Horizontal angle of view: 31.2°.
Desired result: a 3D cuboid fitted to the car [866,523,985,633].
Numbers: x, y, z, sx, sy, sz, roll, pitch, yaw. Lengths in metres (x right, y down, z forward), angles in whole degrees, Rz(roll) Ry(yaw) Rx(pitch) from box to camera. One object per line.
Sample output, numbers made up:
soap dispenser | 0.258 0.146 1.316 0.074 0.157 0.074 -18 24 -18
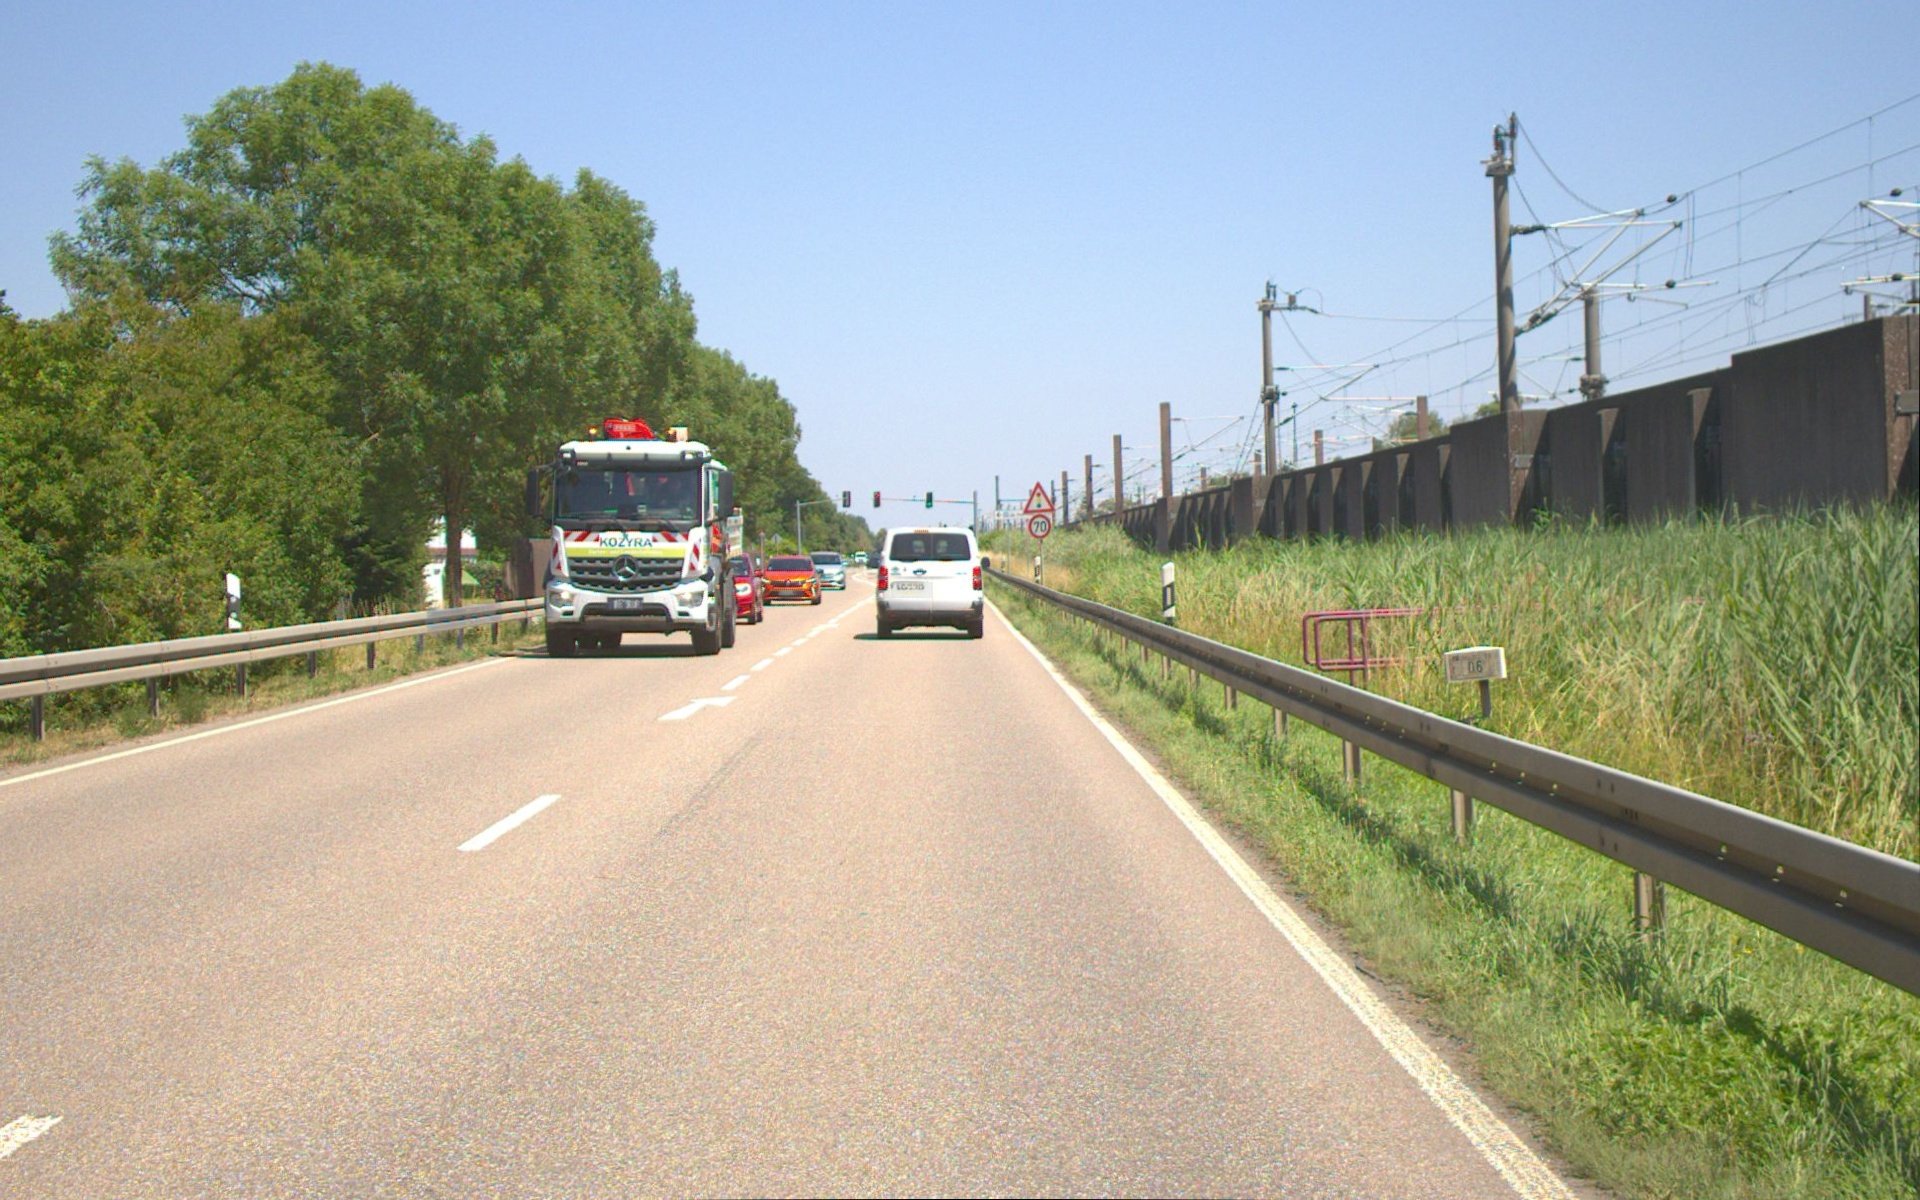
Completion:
car | -0.594 -0.414 60.614 1.993 1.843 4.000 1 1 0

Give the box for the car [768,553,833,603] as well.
car | -4.668 -0.672 100.794 1.789 1.417 4.000 0 1 -1

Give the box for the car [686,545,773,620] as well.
car | -4.938 -0.398 73.991 1.652 1.546 4.000 0 1 -1

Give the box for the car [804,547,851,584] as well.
car | -5.478 -1.444 142.496 1.789 1.520 4.390 0 1 0

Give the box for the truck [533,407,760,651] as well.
truck | -4.647 -1.072 52.371 2.783 3.393 7.989 1 1 -1
